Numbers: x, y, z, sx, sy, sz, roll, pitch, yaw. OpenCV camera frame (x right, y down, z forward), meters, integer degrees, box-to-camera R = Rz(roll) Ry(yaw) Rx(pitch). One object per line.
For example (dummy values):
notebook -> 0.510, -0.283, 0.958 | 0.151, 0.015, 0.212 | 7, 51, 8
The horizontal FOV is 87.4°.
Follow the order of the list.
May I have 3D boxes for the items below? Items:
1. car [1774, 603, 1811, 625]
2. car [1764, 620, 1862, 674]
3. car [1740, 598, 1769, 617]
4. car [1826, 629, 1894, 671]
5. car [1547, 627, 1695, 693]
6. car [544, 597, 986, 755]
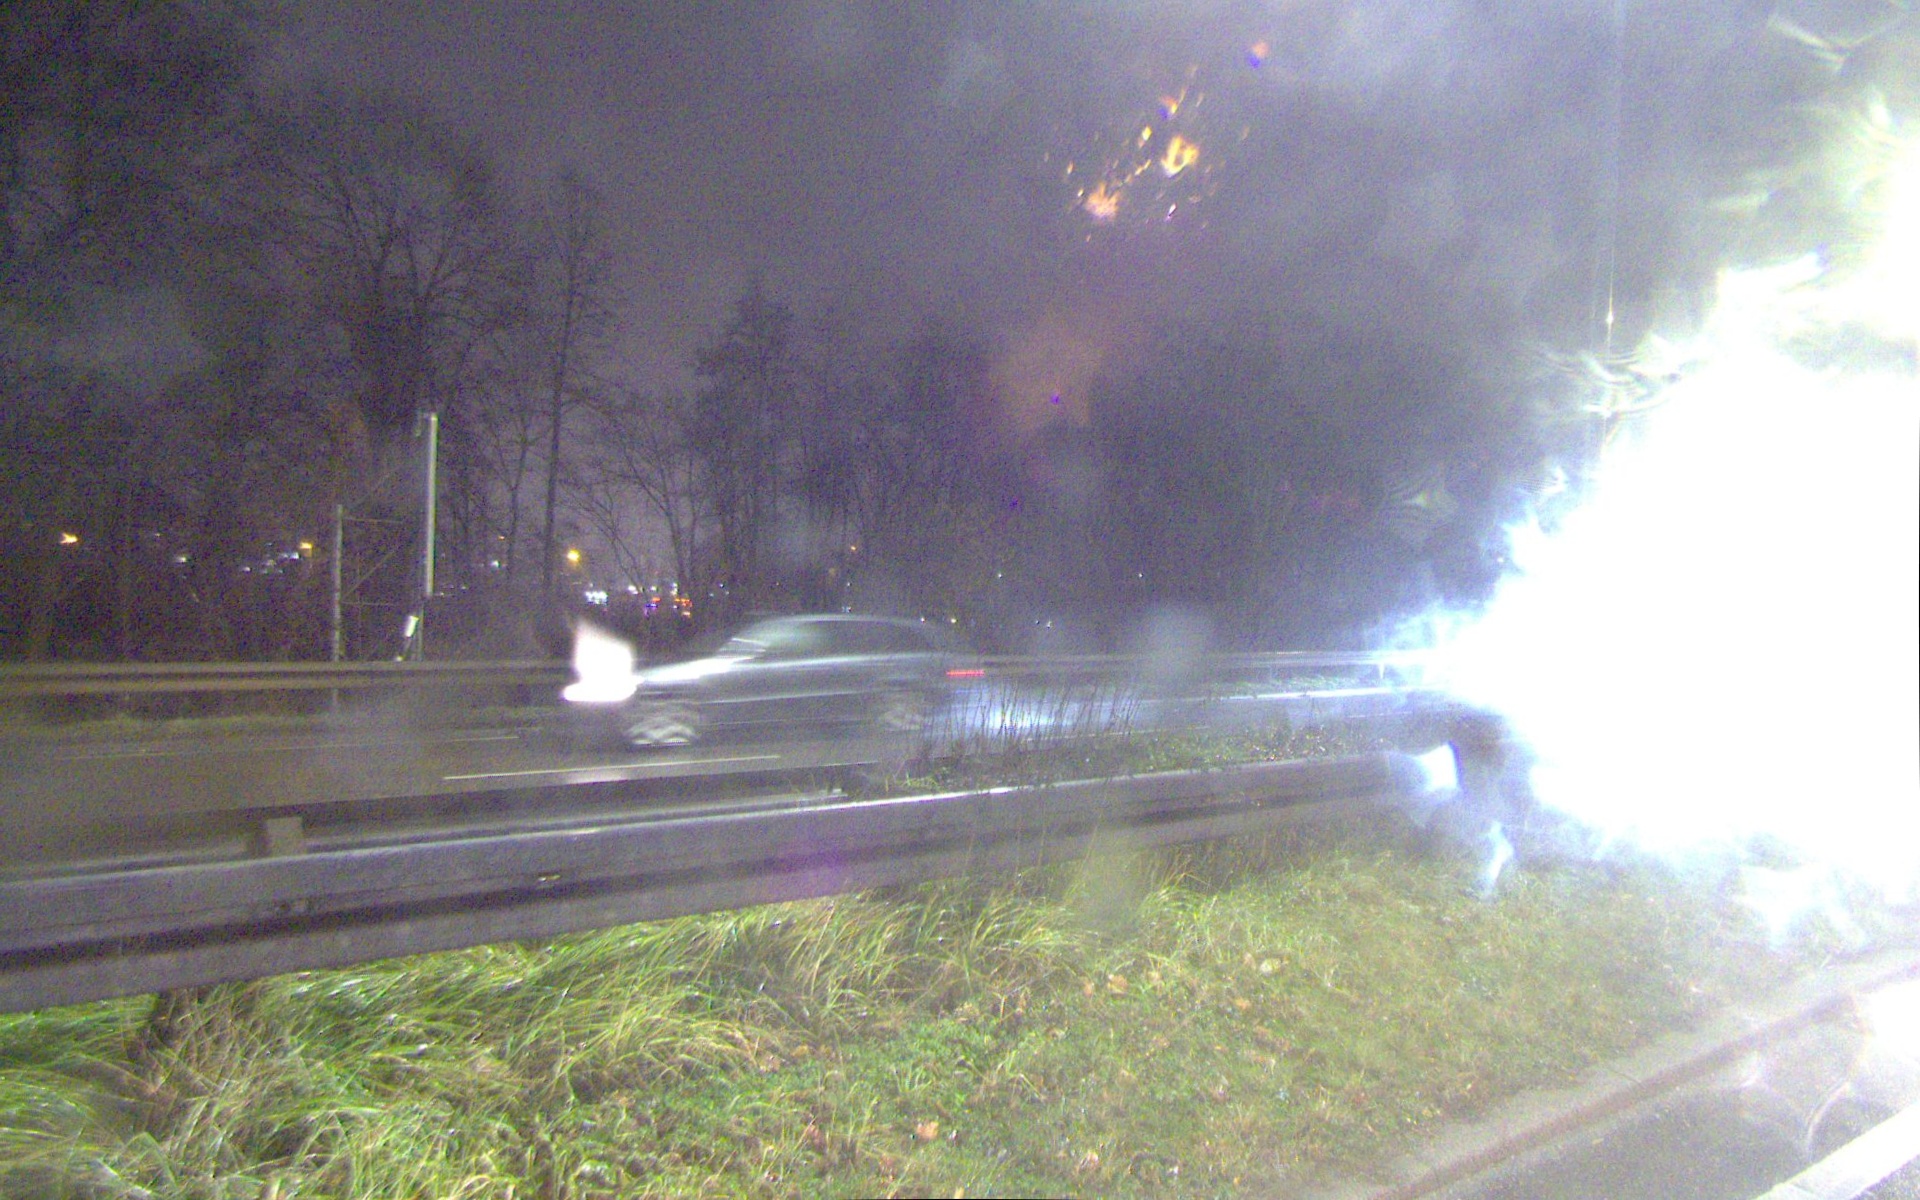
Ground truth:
car -> 60.019, 1.018, 72.465 | 1.776, 1.502, 3.803 | 1, -1, 36
car -> 28.206, 1.535, 33.163 | 4.215, 1.629, 1.853 | 2, -1, -41
car -> 68.307, 0.625, 86.390 | 1.718, 1.522, 3.987 | 2, 0, 35
car -> 38.645, 2.098, 43.109 | 4.219, 1.653, 1.749 | 1, 0, -42
car -> 16.133, 1.399, 24.438 | 4.627, 1.442, 1.698 | 2, -2, -39
car -> -2.209, 0.829, 11.914 | 4.787, 1.528, 1.983 | 2, -3, -33
